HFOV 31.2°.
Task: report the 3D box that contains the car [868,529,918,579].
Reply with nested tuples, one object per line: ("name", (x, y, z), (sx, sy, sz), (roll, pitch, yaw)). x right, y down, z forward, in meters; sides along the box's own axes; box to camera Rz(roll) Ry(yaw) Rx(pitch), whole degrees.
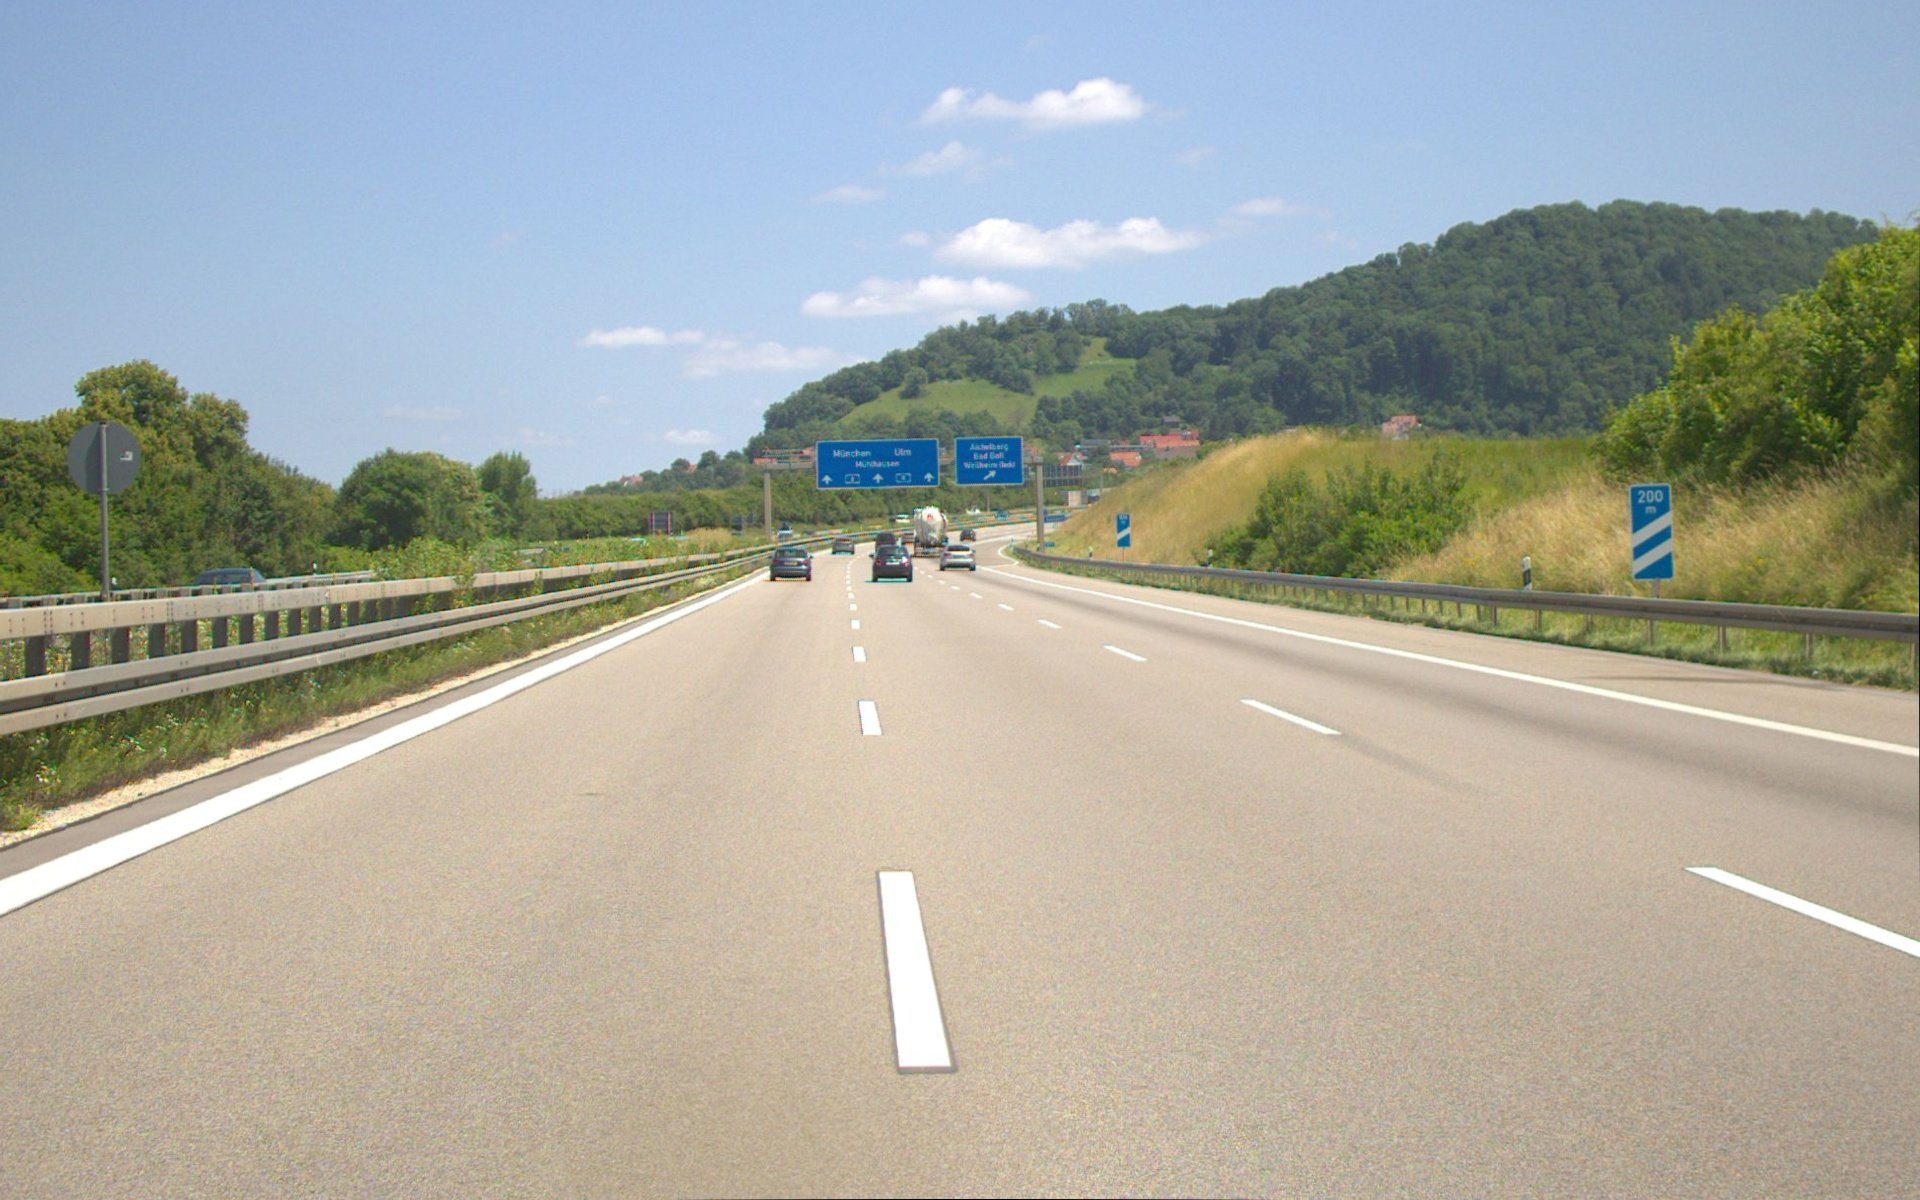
("car", (-2.746, -1.869, 140.092), (1.993, 2.007, 4.000), (0, 0, -1))

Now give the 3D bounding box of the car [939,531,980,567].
("car", (-0.059, -2.663, 179.788), (1.993, 1.812, 4.000), (-2, 1, -1))

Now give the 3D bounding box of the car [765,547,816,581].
("car", (-7.014, -1.497, 142.278), (1.993, 1.384, 4.000), (0, 0, -1))
